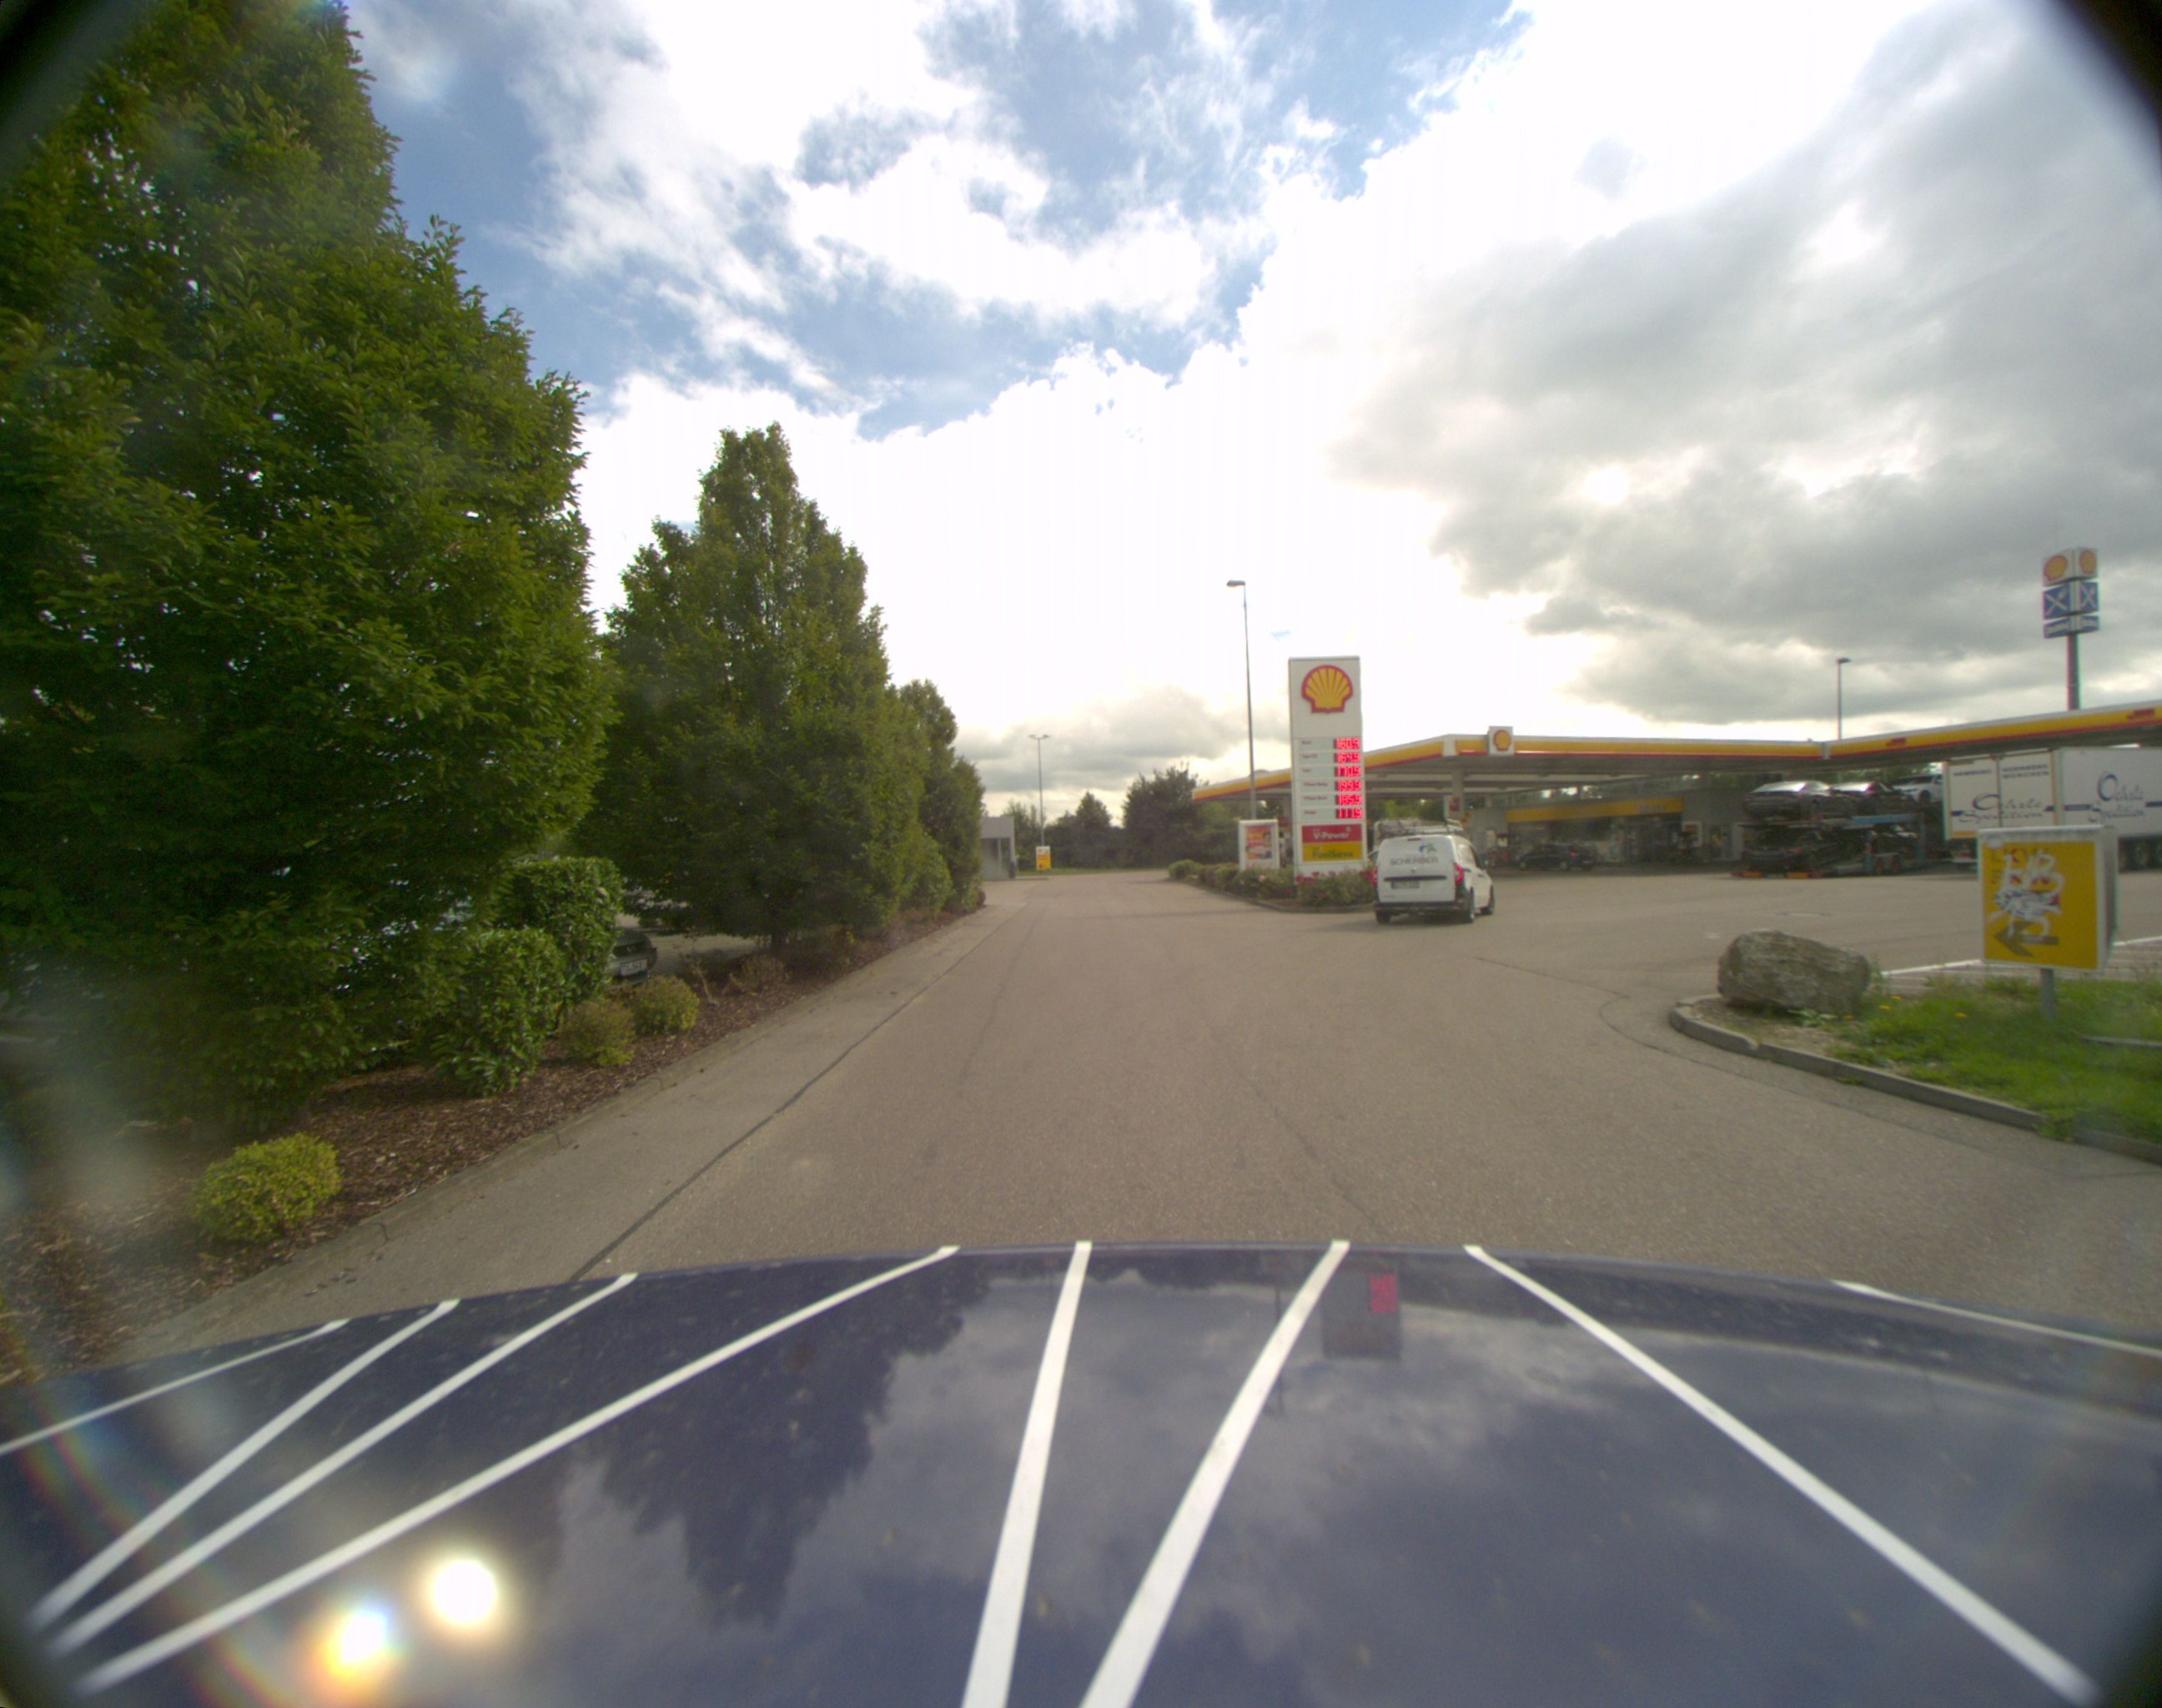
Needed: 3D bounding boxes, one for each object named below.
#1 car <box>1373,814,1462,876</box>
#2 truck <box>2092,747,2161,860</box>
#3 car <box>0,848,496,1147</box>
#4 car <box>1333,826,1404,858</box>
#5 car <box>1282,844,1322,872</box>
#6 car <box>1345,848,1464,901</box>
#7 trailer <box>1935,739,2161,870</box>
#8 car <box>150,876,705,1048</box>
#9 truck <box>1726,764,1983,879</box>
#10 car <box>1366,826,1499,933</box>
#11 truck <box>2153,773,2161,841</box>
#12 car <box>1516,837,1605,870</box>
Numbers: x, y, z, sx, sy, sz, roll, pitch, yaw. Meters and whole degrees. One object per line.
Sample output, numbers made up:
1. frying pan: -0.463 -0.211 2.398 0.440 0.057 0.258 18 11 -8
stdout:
1. car: 16.468 -0.445 36.983 2.218 2.770 5.820 -2 0 41
2. truck: 41.750 -1.896 28.214 7.173 4.001 2.709 -2 0 -17
3. car: -6.914 0.900 5.330 4.359 1.706 1.657 -2 0 3
4. car: 15.334 -0.655 40.478 3.969 1.550 1.995 -2 0 -44
5. car: 13.633 0.220 46.742 1.846 1.564 4.006 -2 0 24
6. car: 10.495 0.630 24.907 1.580 1.538 3.717 -2 0 -15
7. trailer: 35.608 -1.704 26.391 12.856 4.001 2.709 -2 0 -17
8. car: -6.231 0.986 7.628 3.997 1.342 1.725 -2 0 -1
9. truck: 30.721 -1.327 29.913 13.274 3.901 2.746 -2 1 -25
10. car: 7.596 0.481 16.204 1.791 2.000 3.889 -2 0 36
11. truck: 63.621 -2.685 39.398 2.956 4.089 14.773 -1 1 28
12. car: 25.145 -0.015 39.953 1.717 1.592 3.757 -2 0 -15
